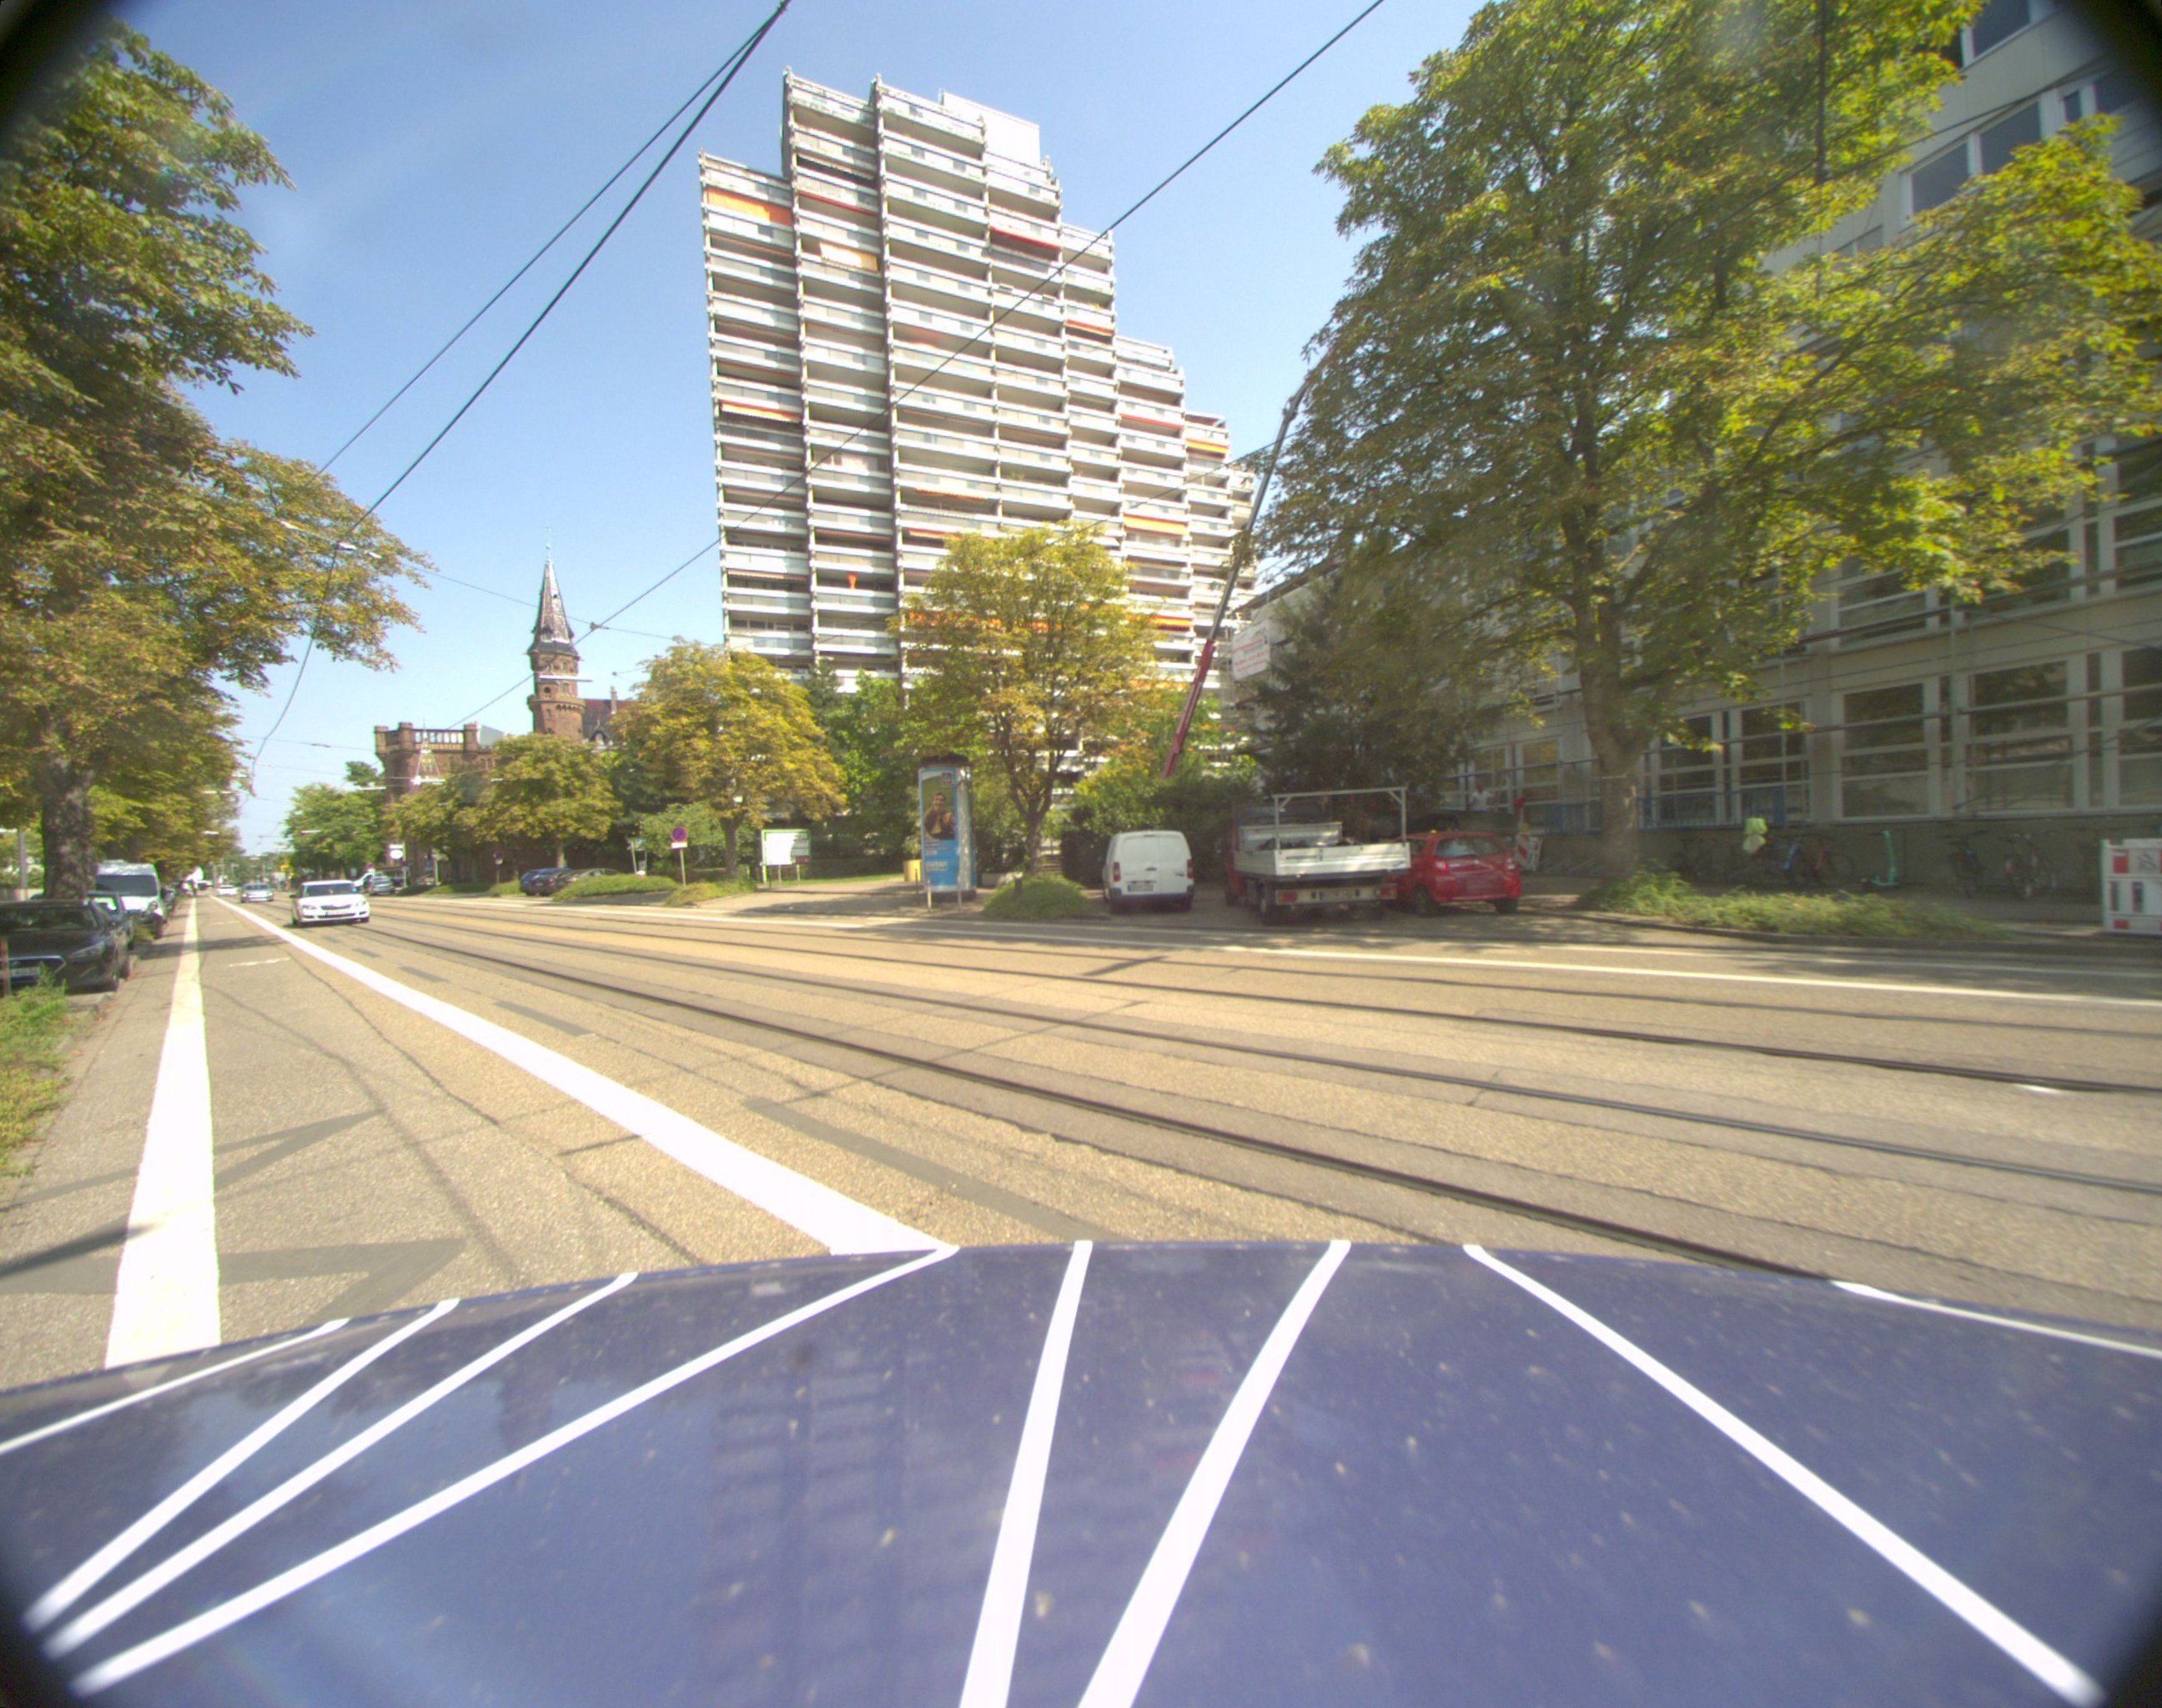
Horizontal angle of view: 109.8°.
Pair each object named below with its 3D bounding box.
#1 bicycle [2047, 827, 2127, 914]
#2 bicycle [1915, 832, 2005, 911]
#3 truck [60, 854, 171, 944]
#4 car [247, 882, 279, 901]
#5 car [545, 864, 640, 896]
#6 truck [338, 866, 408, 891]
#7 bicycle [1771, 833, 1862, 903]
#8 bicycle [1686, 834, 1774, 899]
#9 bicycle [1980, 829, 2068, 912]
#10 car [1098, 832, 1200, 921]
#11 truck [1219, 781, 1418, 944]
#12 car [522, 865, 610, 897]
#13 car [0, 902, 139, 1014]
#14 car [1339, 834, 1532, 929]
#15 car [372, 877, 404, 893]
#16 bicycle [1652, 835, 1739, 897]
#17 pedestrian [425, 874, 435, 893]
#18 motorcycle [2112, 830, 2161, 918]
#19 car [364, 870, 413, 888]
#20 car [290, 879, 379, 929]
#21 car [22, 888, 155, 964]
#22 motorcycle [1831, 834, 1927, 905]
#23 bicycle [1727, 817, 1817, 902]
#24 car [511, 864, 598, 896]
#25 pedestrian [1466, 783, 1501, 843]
[{"bbox_3d":[16.050,0.224,12.108,2.349,1.162,0.561,-5,3,-32],"label":"bicycle"},{"bbox_3d":[15.344,0.272,13.243,2.349,1.162,0.620,-5,3,-31],"label":"bicycle"},{"bbox_3d":[-31.335,1.400,24.804,5.577,2.584,1.926,-2,1,40],"label":"truck"},{"bbox_3d":[-69.359,3.130,64.410,3.768,1.477,1.682,-2,1,41],"label":"car"},{"bbox_3d":[-27.307,1.437,42.660,1.777,1.488,4.300,-3,1,16],"label":"car"},{"bbox_3d":[-95.737,3.248,102.857,2.311,2.511,6.524,-2,5,42],"label":"truck"},{"bbox_3d":[14.399,0.251,14.850,2.349,1.162,0.600,-5,3,-29],"label":"bicycle"},{"bbox_3d":[13.728,0.240,16.041,2.349,1.153,0.600,-5,3,-29],"label":"bicycle"},{"bbox_3d":[15.722,0.238,12.653,2.349,1.162,0.620,-5,3,-31],"label":"bicycle"},{"bbox_3d":[1.444,0.454,17.767,1.824,1.761,4.284,-3,0,-1],"label":"car"},{"bbox_3d":[4.177,0.082,14.638,2.149,2.421,5.969,-2,1,3],"label":"truck"},{"bbox_3d":[-30.008,1.538,44.402,1.777,1.561,4.004,-3,1,15],"label":"car"},{"bbox_3d":[-16.658,1.572,12.189,4.651,1.449,1.683,-2,0,41],"label":"car"},{"bbox_3d":[6.485,0.439,14.420,1.720,1.499,3.859,-2,0,-2],"label":"car"},{"bbox_3d":[-68.877,3.068,75.518,4.502,1.493,1.945,-2,1,44],"label":"car"},{"bbox_3d":[13.435,0.241,16.595,2.349,1.153,0.600,-5,3,-29],"label":"bicycle"},{"bbox_3d":[-67.255,3.050,78.494,0.505,1.969,0.519,-3,2,-5],"label":"pedestrian"},{"bbox_3d":[16.507,0.275,11.580,1.847,1.176,0.693,-5,3,-29],"label":"motorcycle"},{"bbox_3d":[-90.655,3.293,99.543,1.995,1.788,4.417,-2,5,44],"label":"car"},{"bbox_3d":[-25.406,1.646,25.813,4.008,1.483,1.829,-2,1,41],"label":"car"},{"bbox_3d":[-24.296,1.679,18.738,4.160,1.570,1.683,-2,0,41],"label":"car"},{"bbox_3d":[14.974,0.261,14.248,2.009,1.148,0.742,-5,3,-29],"label":"motorcycle"},{"bbox_3d":[14.062,0.079,15.437,2.349,1.517,0.600,-5,3,-29],"label":"bicycle"},{"bbox_3d":[-32.350,1.587,46.851,1.838,1.638,4.004,-3,1,19],"label":"car"},{"bbox_3d":[12.466,-1.261,23.551,0.739,1.777,0.830,-2,1,18],"label":"pedestrian"}]
